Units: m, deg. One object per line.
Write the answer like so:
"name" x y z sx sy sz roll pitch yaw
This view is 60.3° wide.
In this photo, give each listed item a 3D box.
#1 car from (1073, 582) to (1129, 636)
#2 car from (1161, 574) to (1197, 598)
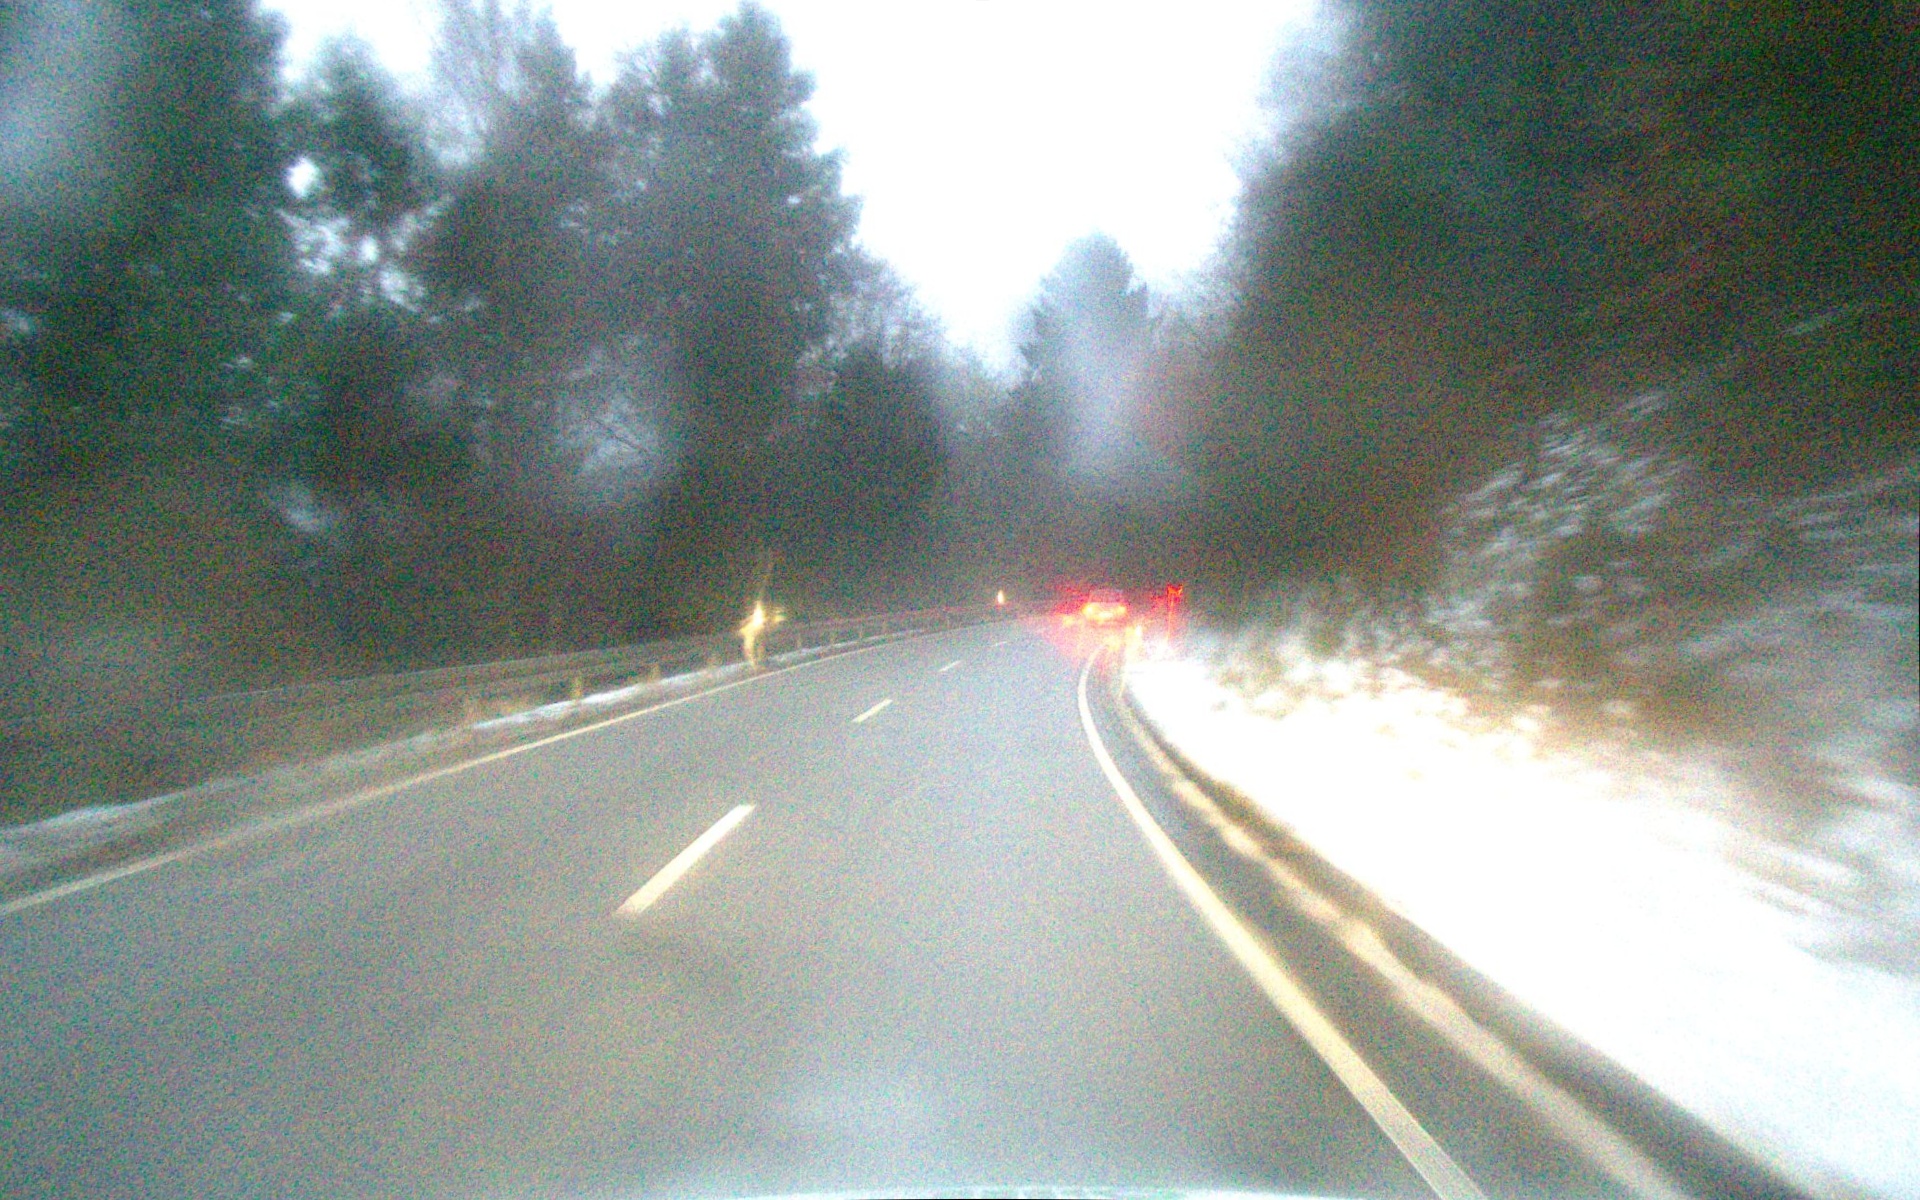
"car" 5.542 0.317 64.706 1.951 1.905 4.003 -3 1 7
"car" 13.103 -0.849 99.053 1.951 1.333 4.003 -3 1 6
